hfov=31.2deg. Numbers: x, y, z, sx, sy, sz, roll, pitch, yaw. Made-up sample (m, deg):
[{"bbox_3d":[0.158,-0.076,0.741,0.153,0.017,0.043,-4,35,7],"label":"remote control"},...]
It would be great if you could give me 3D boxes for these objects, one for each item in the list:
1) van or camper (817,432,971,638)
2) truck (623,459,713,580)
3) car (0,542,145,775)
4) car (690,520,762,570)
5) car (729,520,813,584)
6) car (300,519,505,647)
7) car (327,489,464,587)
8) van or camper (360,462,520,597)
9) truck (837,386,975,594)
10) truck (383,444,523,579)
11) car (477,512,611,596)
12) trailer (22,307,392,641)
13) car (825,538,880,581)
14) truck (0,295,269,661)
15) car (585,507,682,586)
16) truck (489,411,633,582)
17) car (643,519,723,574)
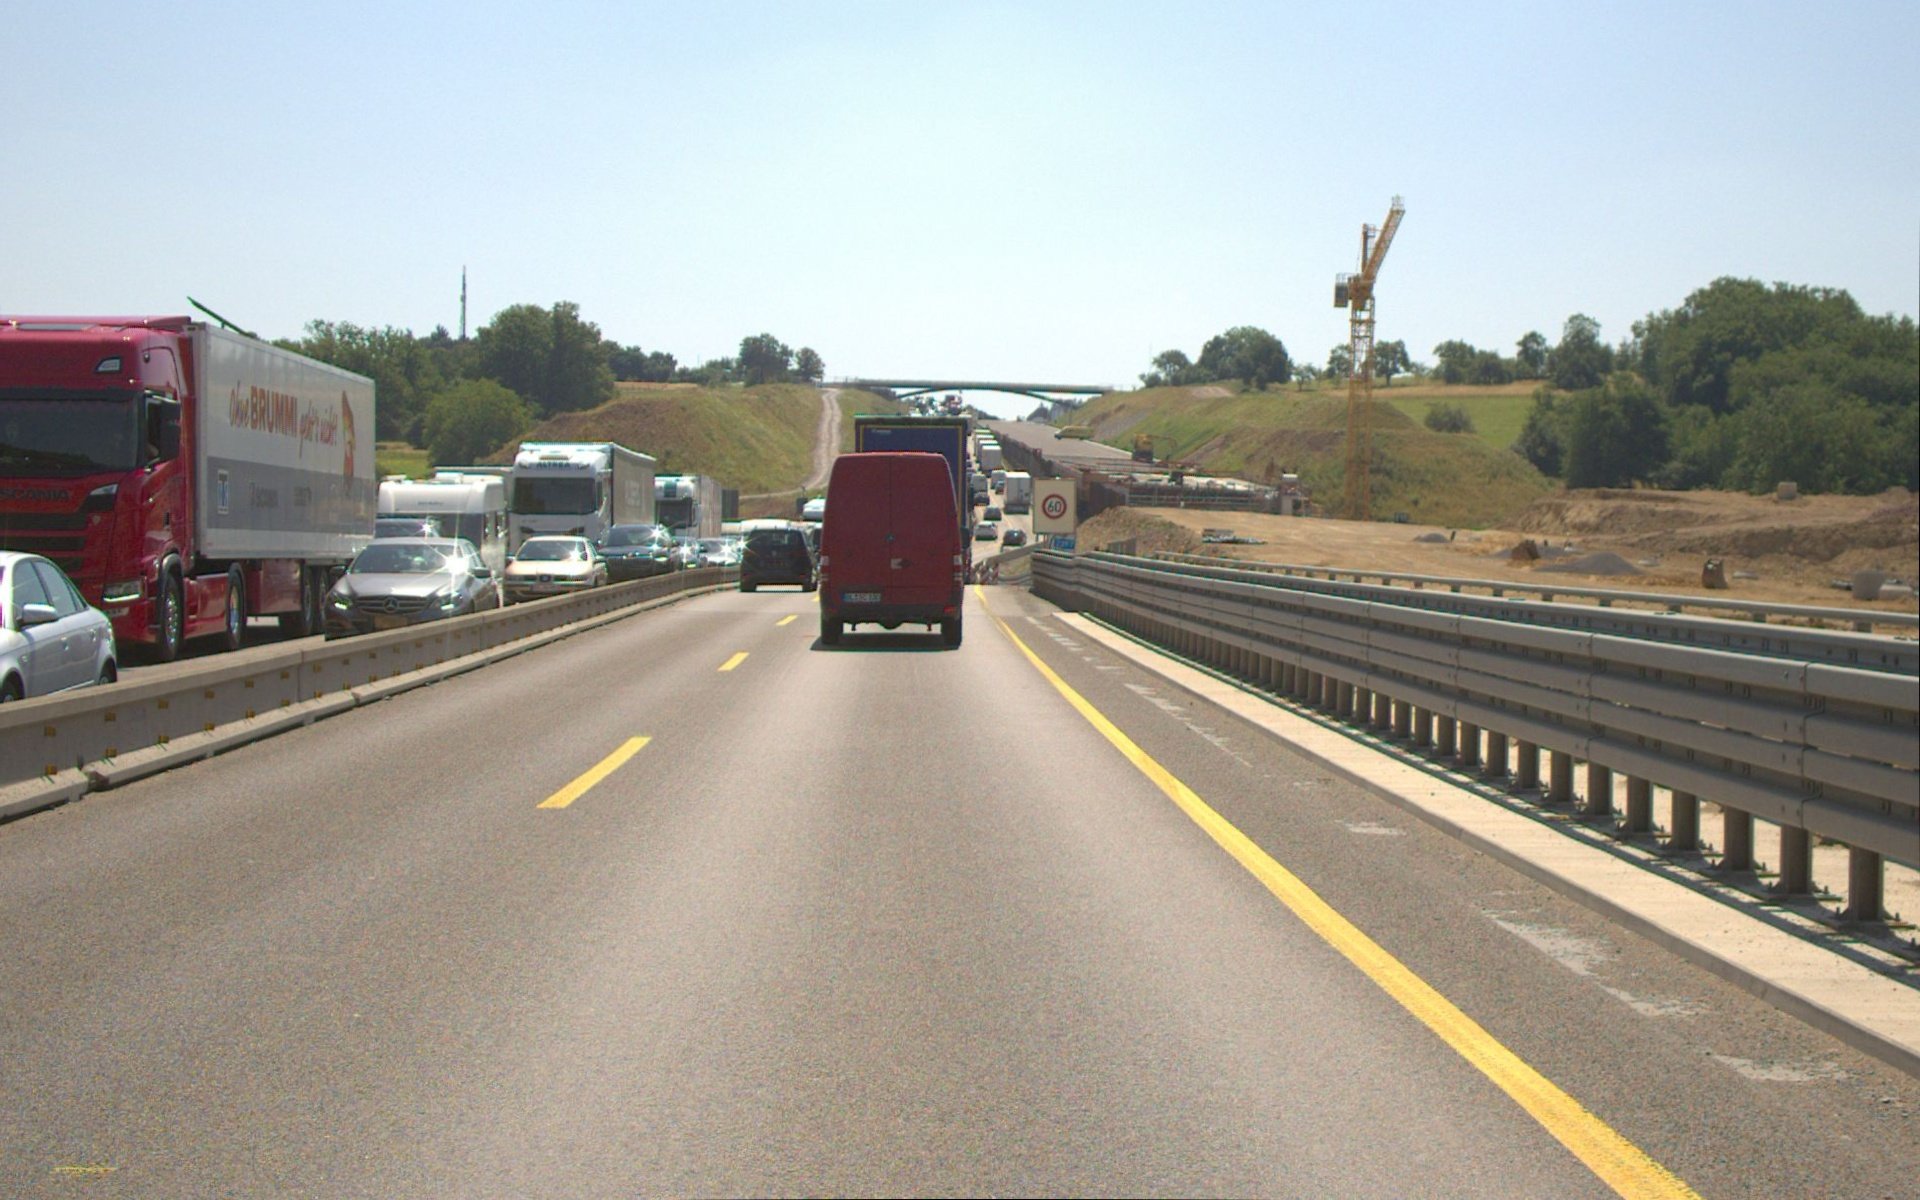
[{"bbox_3d":[-0.980,-0.922,48.410,2.029,2.735,4.516,1,1,-2],"label":"van or camper"},{"bbox_3d":[-10.849,-3.013,128.307,2.806,4.377,6.225,0,1,0],"label":"truck"},{"bbox_3d":[-6.710,0.335,22.425,1.781,1.375,4.712,-1,1,-2],"label":"car"},{"bbox_3d":[-7.272,-1.737,107.348,1.865,1.454,4.607,2,1,0],"label":"car"},{"bbox_3d":[-4.727,-1.227,86.583,2.012,1.539,4.133,1,1,-2],"label":"car"},{"bbox_3d":[-7.208,-0.252,44.906,1.890,1.482,4.920,3,1,-1],"label":"car"},{"bbox_3d":[-10.543,-1.178,64.525,1.767,1.728,4.791,2,1,0],"label":"car"},{"bbox_3d":[-10.747,-1.468,71.495,2.503,2.689,5.244,0,1,0],"label":"van or camper"},{"bbox_3d":[-1.341,-2.568,81.450,3.020,4.677,6.933,-1,1,-2],"label":"truck"},{"bbox_3d":[-14.997,-2.630,102.185,2.904,3.752,8.368,1,1,0],"label":"truck"},{"bbox_3d":[-7.915,-0.907,65.816,1.901,1.456,4.194,-2,2,2],"label":"car"},{"bbox_3d":[-10.460,-1.761,49.210,2.806,4.162,11.799,1,2,-1],"label":"trailer"},{"bbox_3d":[-4.110,-1.587,132.289,2.012,1.539,4.133,2,1,-1],"label":"car"},{"bbox_3d":[-10.343,-1.452,41.318,2.816,4.023,6.523,1,2,-1],"label":"truck"},{"bbox_3d":[-7.612,-1.253,80.508,1.847,1.682,4.619,3,1,-1],"label":"car"},{"bbox_3d":[-10.955,-2.829,94.960,3.078,4.521,7.103,0,1,0],"label":"truck"},{"bbox_3d":[-7.543,-1.471,93.988,1.777,1.415,4.538,2,1,0],"label":"car"}]
